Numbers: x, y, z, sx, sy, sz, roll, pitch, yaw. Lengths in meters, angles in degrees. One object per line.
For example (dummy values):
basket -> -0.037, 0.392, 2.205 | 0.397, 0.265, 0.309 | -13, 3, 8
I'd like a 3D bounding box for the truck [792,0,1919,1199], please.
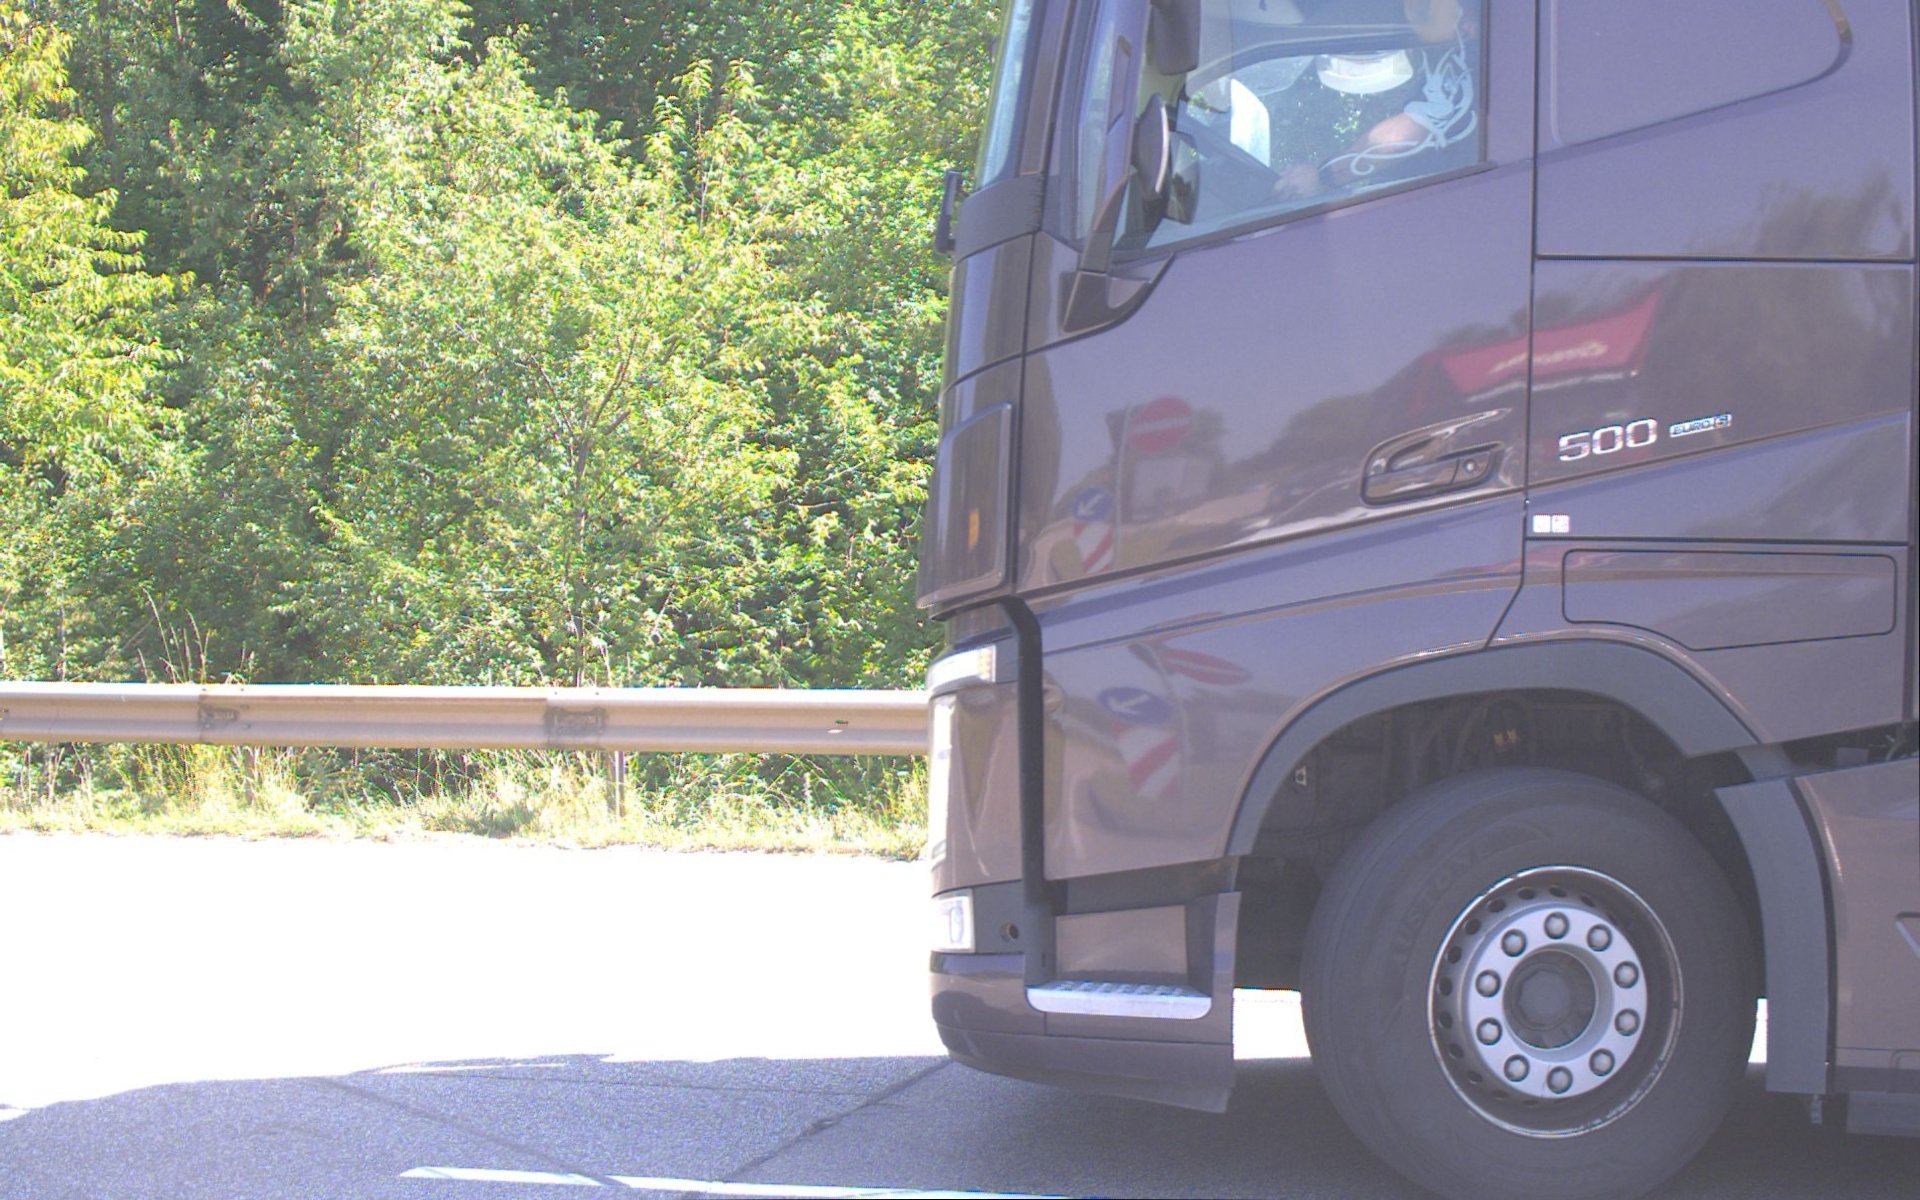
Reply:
truck -> 2.792, -0.774, 8.456 | 5.952, 4.159, 2.879 | 1, 1, 7
